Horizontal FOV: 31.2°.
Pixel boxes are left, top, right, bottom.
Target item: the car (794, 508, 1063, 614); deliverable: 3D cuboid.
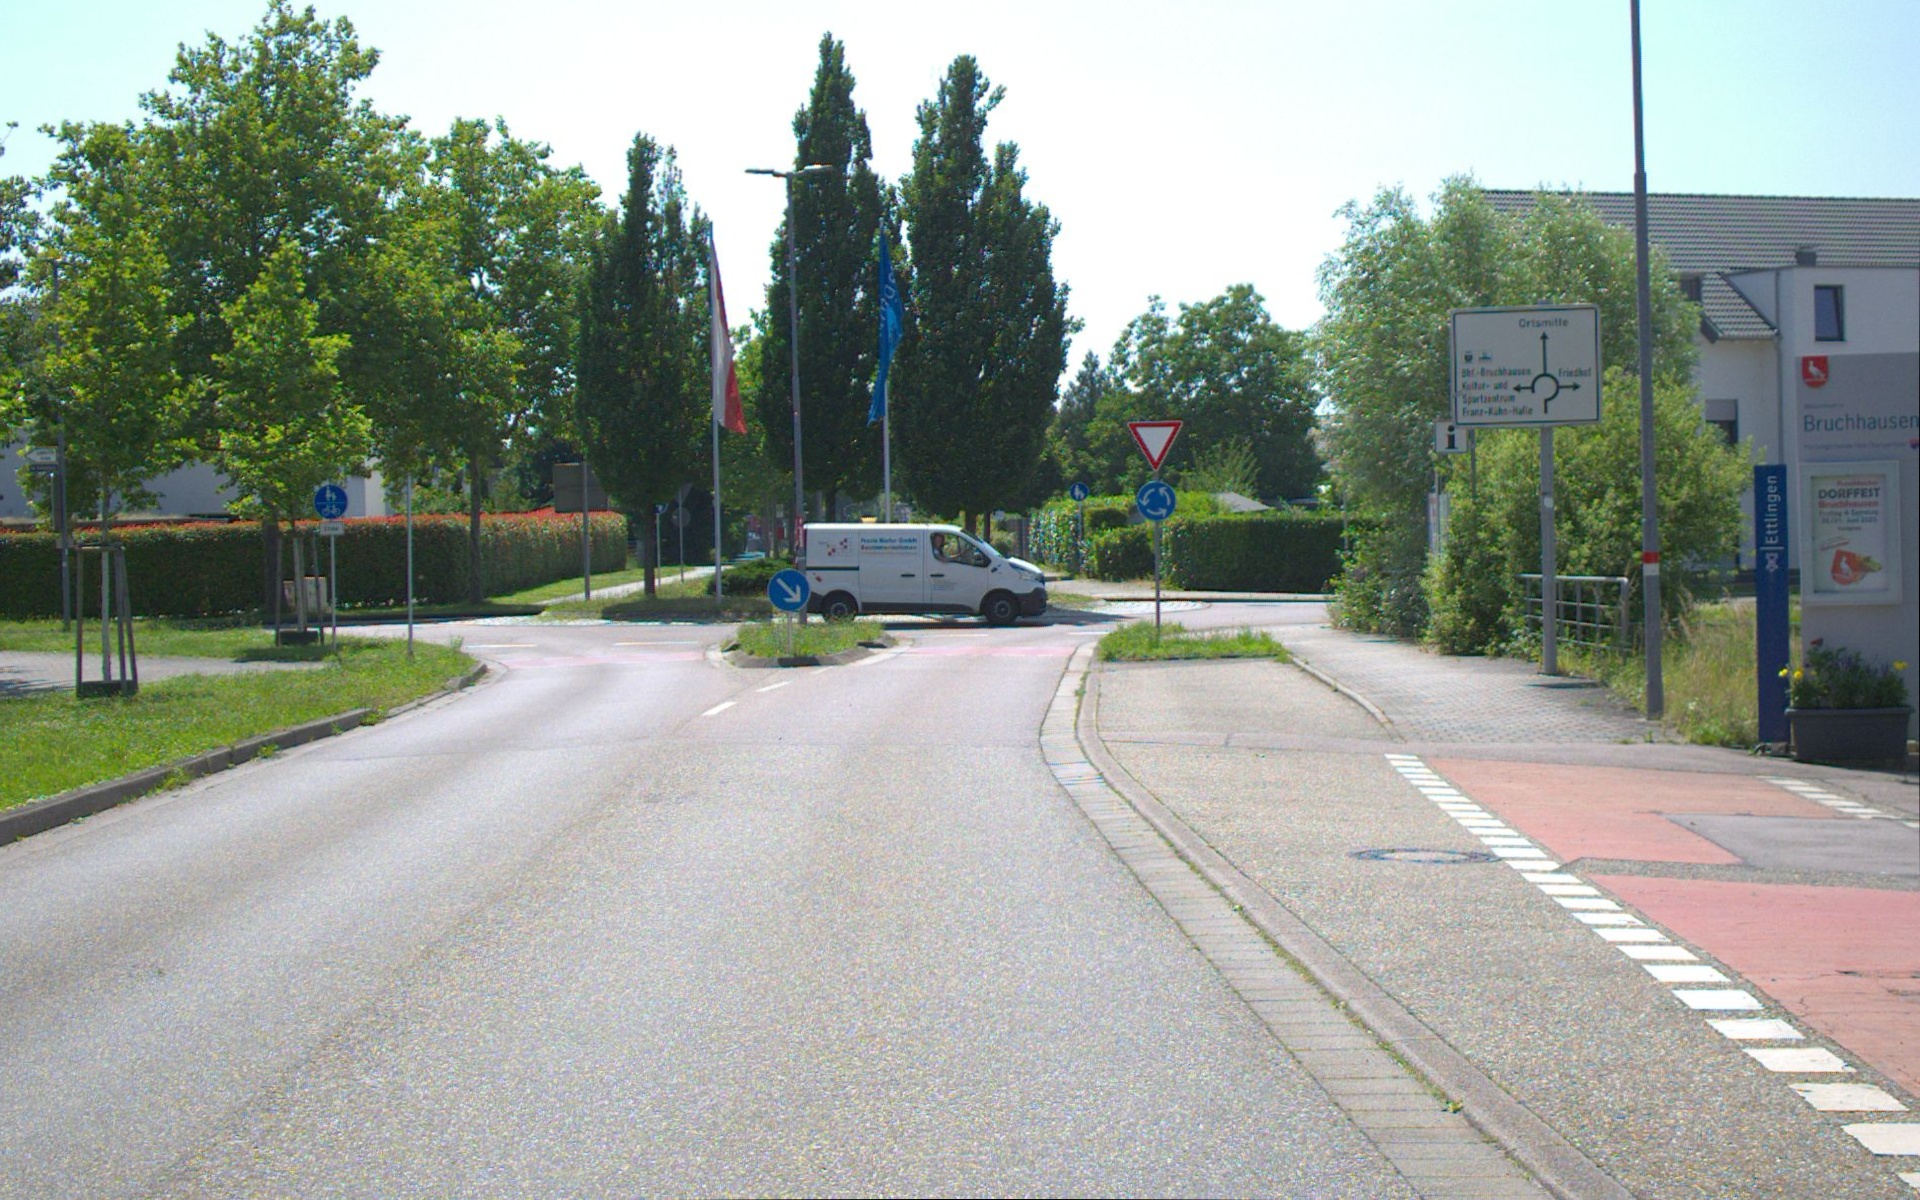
[{"bbox_3d":[-0.605,-0.757,66.790,5.131,2.007,2.135,0,1,0],"label":"car"}]
